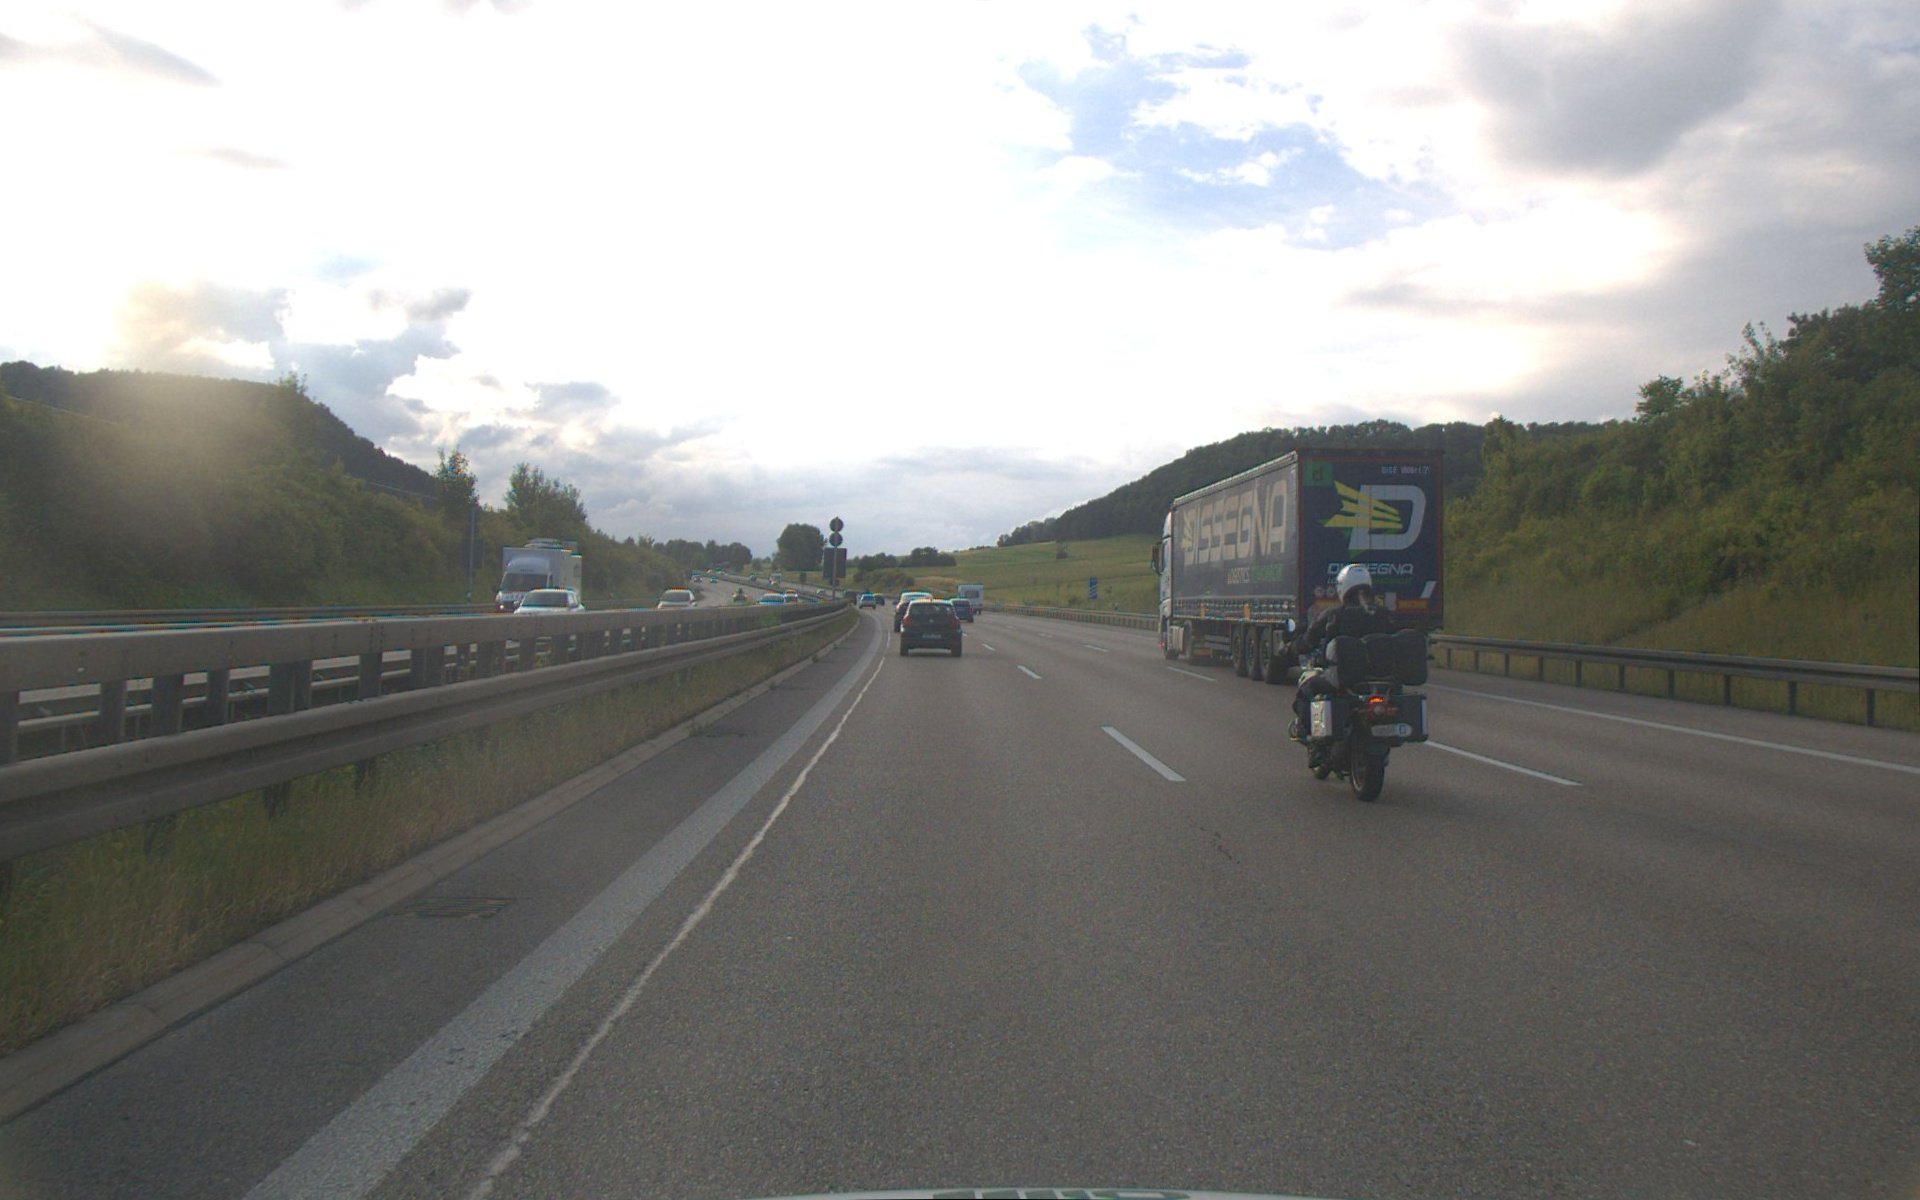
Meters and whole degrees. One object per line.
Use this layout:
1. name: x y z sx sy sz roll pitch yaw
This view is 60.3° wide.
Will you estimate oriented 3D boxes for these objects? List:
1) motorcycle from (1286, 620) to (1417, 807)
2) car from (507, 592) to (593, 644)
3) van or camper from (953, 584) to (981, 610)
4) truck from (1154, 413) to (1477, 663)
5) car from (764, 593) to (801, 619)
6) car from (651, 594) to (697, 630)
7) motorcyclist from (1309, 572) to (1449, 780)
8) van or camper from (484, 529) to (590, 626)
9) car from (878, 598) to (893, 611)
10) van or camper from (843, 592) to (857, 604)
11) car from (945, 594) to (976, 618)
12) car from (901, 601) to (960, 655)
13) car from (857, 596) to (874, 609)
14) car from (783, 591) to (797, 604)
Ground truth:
1. motorcycle: 3.082 0.851 13.167 0.614 1.362 1.739 1 0 0
2. car: -12.163 0.502 49.263 1.610 1.461 4.343 1 0 -2
3. van or camper: 0.602 -0.239 148.206 2.496 2.278 5.328 1 0 0
4. truck: 6.881 -1.040 36.030 2.904 4.062 17.728 1 0 -1
5. car: -10.343 0.332 96.628 1.744 1.434 3.762 1 0 -1
6. car: -14.000 0.553 81.124 1.610 1.685 4.343 1 0 -2
7. motorcyclist: 3.220 0.569 12.776 0.859 1.541 0.797 1 0 0
8. van or camper: -16.906 -0.865 66.559 2.432 3.613 7.974 1 0 -2
9. car: -10.005 0.589 222.899 1.918 1.601 3.999 1 0 -1
10. van or camper: -14.803 -0.258 222.390 1.927 1.458 3.997 1 0 -4
11. car: 0.001 0.375 103.266 1.731 1.458 3.998 1 0 -3
12. car: -0.768 0.718 44.648 1.506 1.371 3.676 1 0 0
13. car: -10.484 0.252 183.350 1.733 1.458 3.994 1 0 -6
14. car: -23.472 -0.345 228.146 1.797 1.619 5.014 1 0 -5
